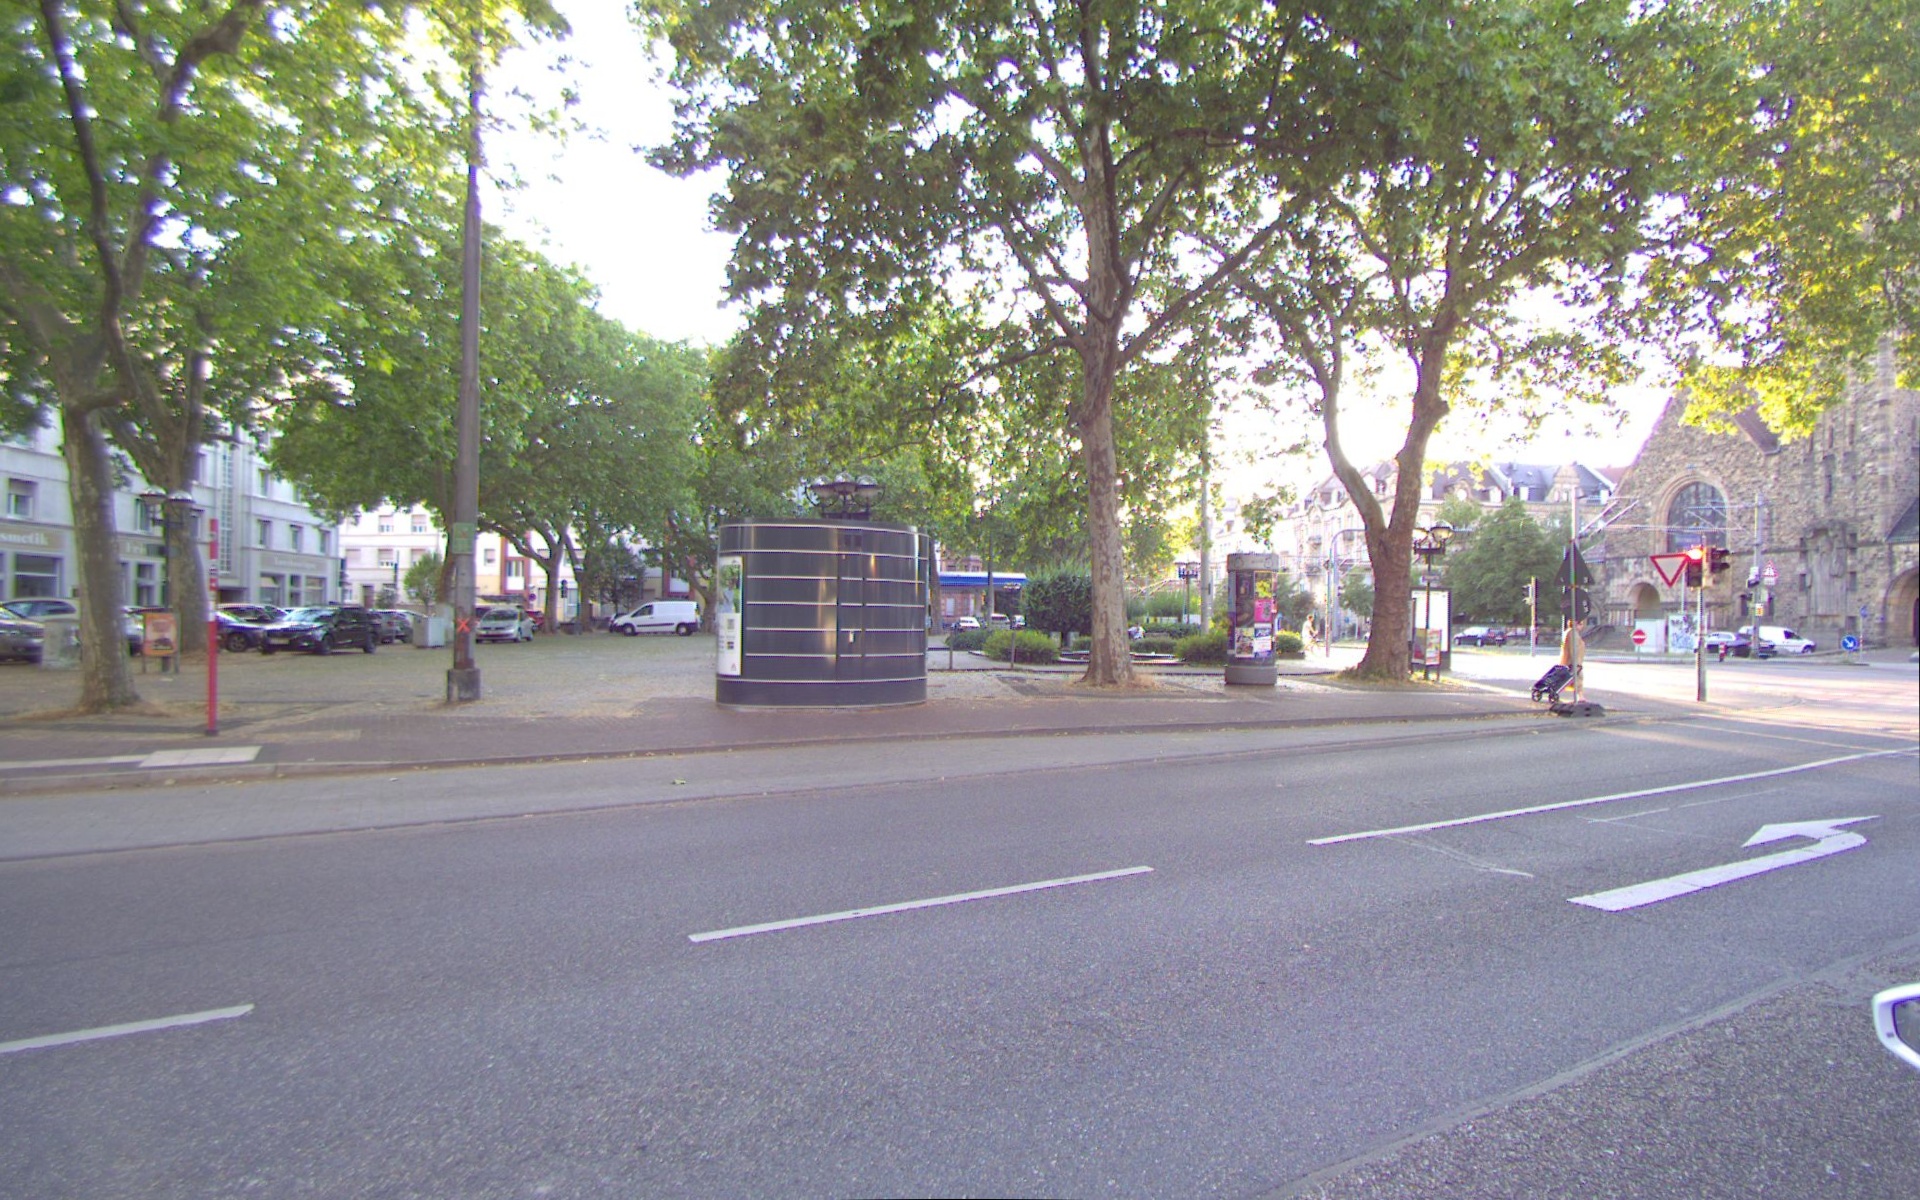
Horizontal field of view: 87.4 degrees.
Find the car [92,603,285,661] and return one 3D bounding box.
[{"bbox_3d":[-25.117,1.038,32.875,4.557,1.758,1.997,-1,-2,-10],"label":"car"}]

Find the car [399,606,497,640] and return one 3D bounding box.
[{"bbox_3d":[-27.721,1.267,54.569,4.572,1.758,1.990,0,-2,-22],"label":"car"}]

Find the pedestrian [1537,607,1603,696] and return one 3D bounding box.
[{"bbox_3d":[11.704,0.978,19.281,0.766,1.649,0.796,2,0,-35],"label":"pedestrian"}]

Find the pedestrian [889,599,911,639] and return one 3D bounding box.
[{"bbox_3d":[-2.598,0.825,43.525,0.869,1.694,0.740,2,0,-8],"label":"pedestrian"}]

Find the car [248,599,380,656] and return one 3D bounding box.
[{"bbox_3d":[-19.225,0.823,30.106,1.642,1.549,3.760,2,-1,-4],"label":"car"}]

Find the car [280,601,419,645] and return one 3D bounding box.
[{"bbox_3d":[-25.606,0.984,42.274,4.557,1.758,1.997,-1,-2,-10],"label":"car"}]

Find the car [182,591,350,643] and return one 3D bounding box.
[{"bbox_3d":[-25.108,0.621,36.519,4.557,1.805,2.090,-1,-2,-10],"label":"car"}]

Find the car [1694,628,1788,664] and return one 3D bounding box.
[{"bbox_3d":[41.176,2.376,53.102,1.960,1.639,4.002,5,-1,5],"label":"car"}]

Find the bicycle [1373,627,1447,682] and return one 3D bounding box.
[{"bbox_3d":[11.321,1.372,25.237,1.967,1.344,0.523,2,0,-26],"label":"bicycle"}]

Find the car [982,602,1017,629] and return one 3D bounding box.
[{"bbox_3d":[2.854,1.104,73.320,1.882,1.873,3.995,2,0,-7],"label":"car"}]

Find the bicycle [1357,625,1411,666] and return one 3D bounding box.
[{"bbox_3d":[11.941,1.293,28.265,1.780,1.107,0.455,2,0,-33],"label":"bicycle"}]

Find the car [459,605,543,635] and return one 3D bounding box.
[{"bbox_3d":[-28.390,1.246,62.298,4.572,1.758,1.990,0,-2,-22],"label":"car"}]

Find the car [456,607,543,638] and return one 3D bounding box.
[{"bbox_3d":[-27.386,1.337,59.935,4.572,1.758,1.990,0,-2,-22],"label":"car"}]

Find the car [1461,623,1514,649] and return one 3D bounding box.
[{"bbox_3d":[38.607,2.599,73.593,1.960,1.706,4.002,2,0,4],"label":"car"}]

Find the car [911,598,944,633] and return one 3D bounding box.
[{"bbox_3d":[-2.378,1.088,72.563,1.963,2.374,3.995,2,0,-7],"label":"car"}]

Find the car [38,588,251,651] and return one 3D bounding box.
[{"bbox_3d":[-24.456,0.586,30.295,4.557,1.805,1.997,-1,-2,-10],"label":"car"}]

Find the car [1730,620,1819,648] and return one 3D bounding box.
[{"bbox_3d":[50.971,2.126,62.913,4.372,1.537,1.718,2,0,-6],"label":"car"}]

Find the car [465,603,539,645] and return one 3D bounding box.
[{"bbox_3d":[-19.794,0.999,43.587,1.642,1.684,3.760,2,0,-4],"label":"car"}]

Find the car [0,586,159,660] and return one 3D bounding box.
[{"bbox_3d":[-23.685,0.611,25.697,4.557,1.805,1.997,-1,-2,-10],"label":"car"}]

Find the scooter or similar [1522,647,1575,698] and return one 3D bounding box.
[{"bbox_3d":[11.016,1.346,18.803,0.845,0.910,0.586,2,0,-41],"label":"scooter or similar"}]

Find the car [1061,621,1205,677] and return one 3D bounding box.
[{"bbox_3d":[5.917,1.683,34.677,4.552,1.805,1.999,-1,-2,-5],"label":"car"}]

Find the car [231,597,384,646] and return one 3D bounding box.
[{"bbox_3d":[-25.299,0.855,39.106,4.557,1.805,1.997,-1,-2,-10],"label":"car"}]

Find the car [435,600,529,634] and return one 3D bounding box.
[{"bbox_3d":[-27.172,0.962,57.262,4.578,1.834,1.992,0,-2,-20],"label":"car"}]

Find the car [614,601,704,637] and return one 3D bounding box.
[{"bbox_3d":[-16.858,1.079,56.446,4.557,1.964,1.997,-1,-2,-10],"label":"car"}]

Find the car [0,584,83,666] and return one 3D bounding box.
[{"bbox_3d":[-23.127,0.601,22.727,4.557,1.805,1.997,-1,-2,-10],"label":"car"}]

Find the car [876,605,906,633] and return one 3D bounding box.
[{"bbox_3d":[-5.017,1.345,72.317,1.882,1.873,3.995,2,0,-7],"label":"car"}]
